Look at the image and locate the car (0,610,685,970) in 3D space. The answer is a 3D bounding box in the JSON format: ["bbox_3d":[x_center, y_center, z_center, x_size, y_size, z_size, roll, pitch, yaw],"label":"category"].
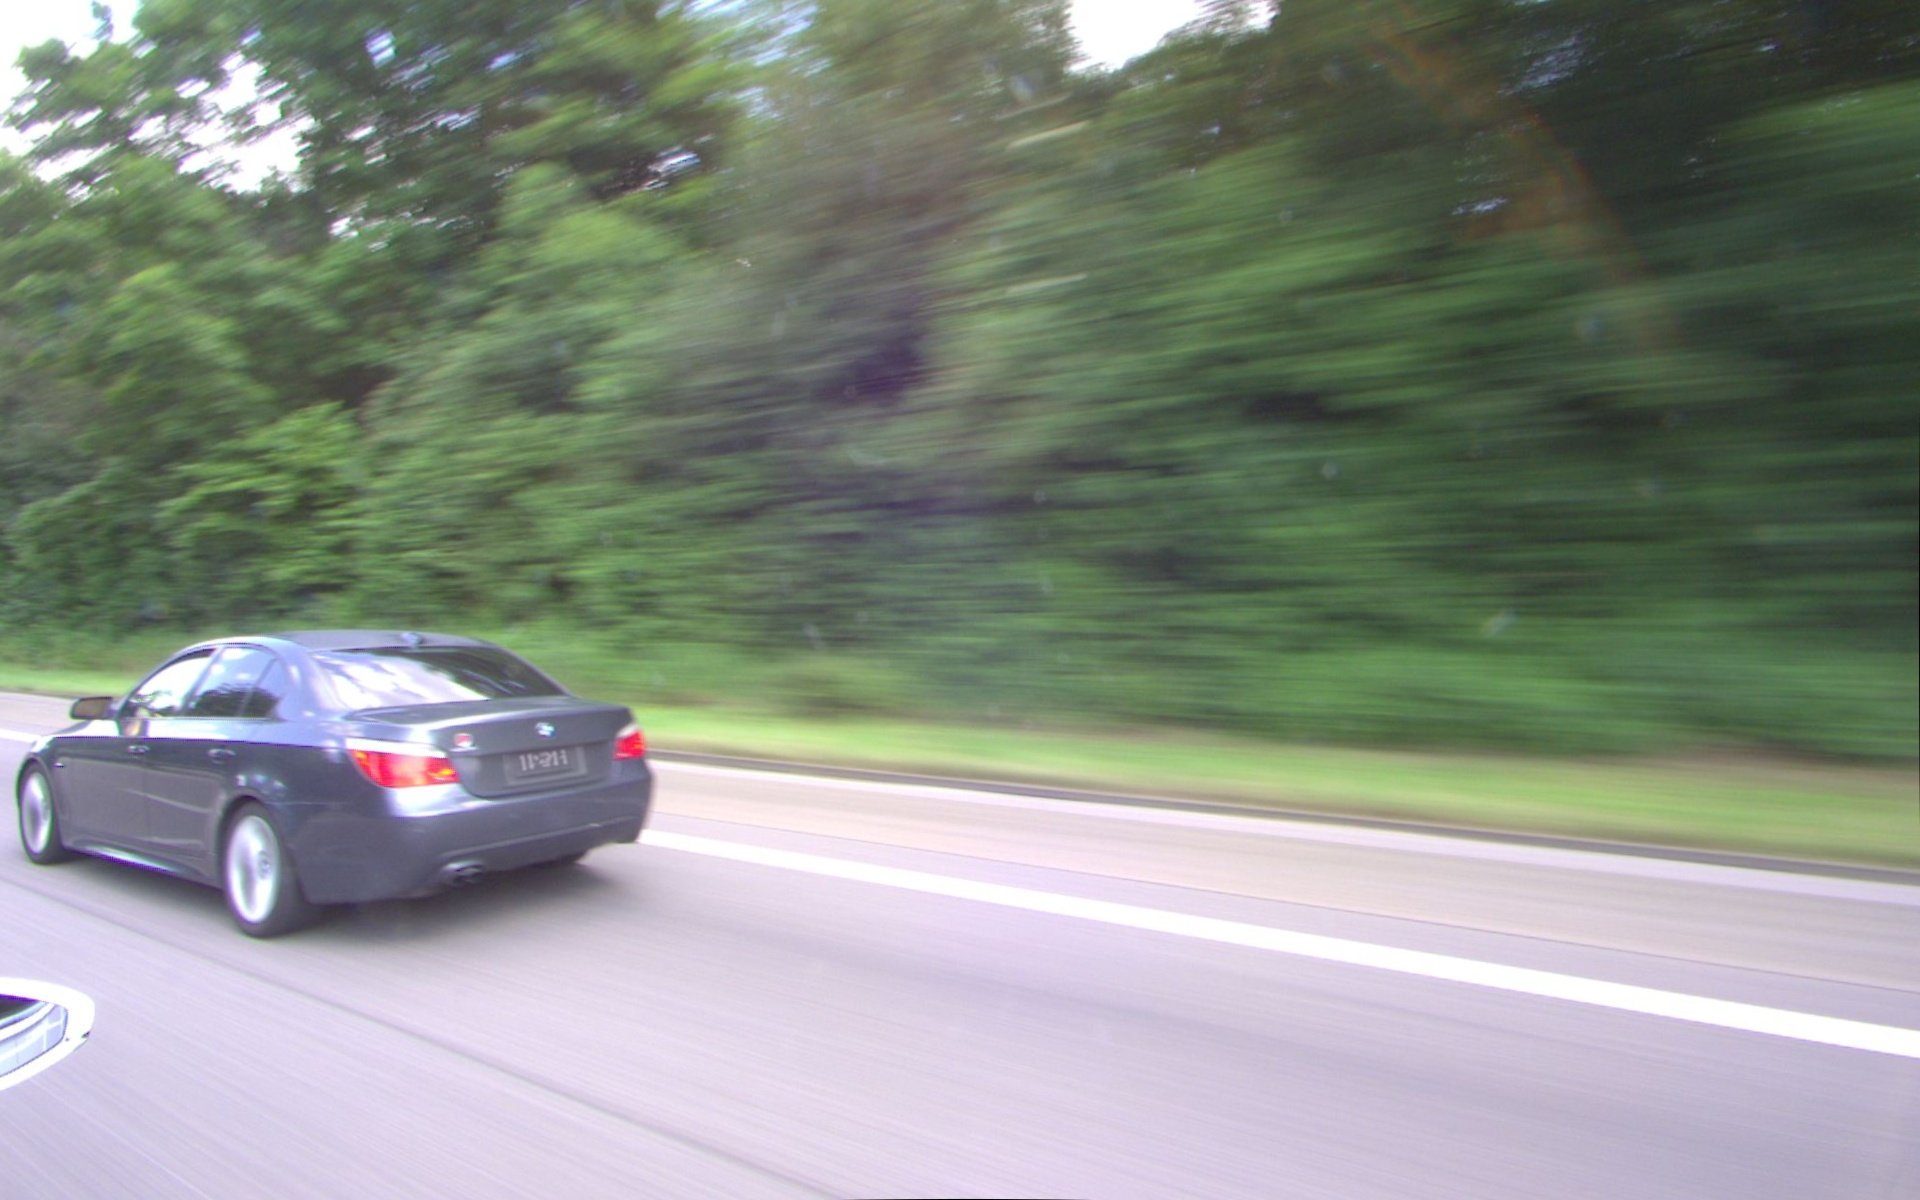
[{"bbox_3d":[-4.067,0.837,6.200,4.809,1.494,1.772,-1,-1,32],"label":"car"}]
